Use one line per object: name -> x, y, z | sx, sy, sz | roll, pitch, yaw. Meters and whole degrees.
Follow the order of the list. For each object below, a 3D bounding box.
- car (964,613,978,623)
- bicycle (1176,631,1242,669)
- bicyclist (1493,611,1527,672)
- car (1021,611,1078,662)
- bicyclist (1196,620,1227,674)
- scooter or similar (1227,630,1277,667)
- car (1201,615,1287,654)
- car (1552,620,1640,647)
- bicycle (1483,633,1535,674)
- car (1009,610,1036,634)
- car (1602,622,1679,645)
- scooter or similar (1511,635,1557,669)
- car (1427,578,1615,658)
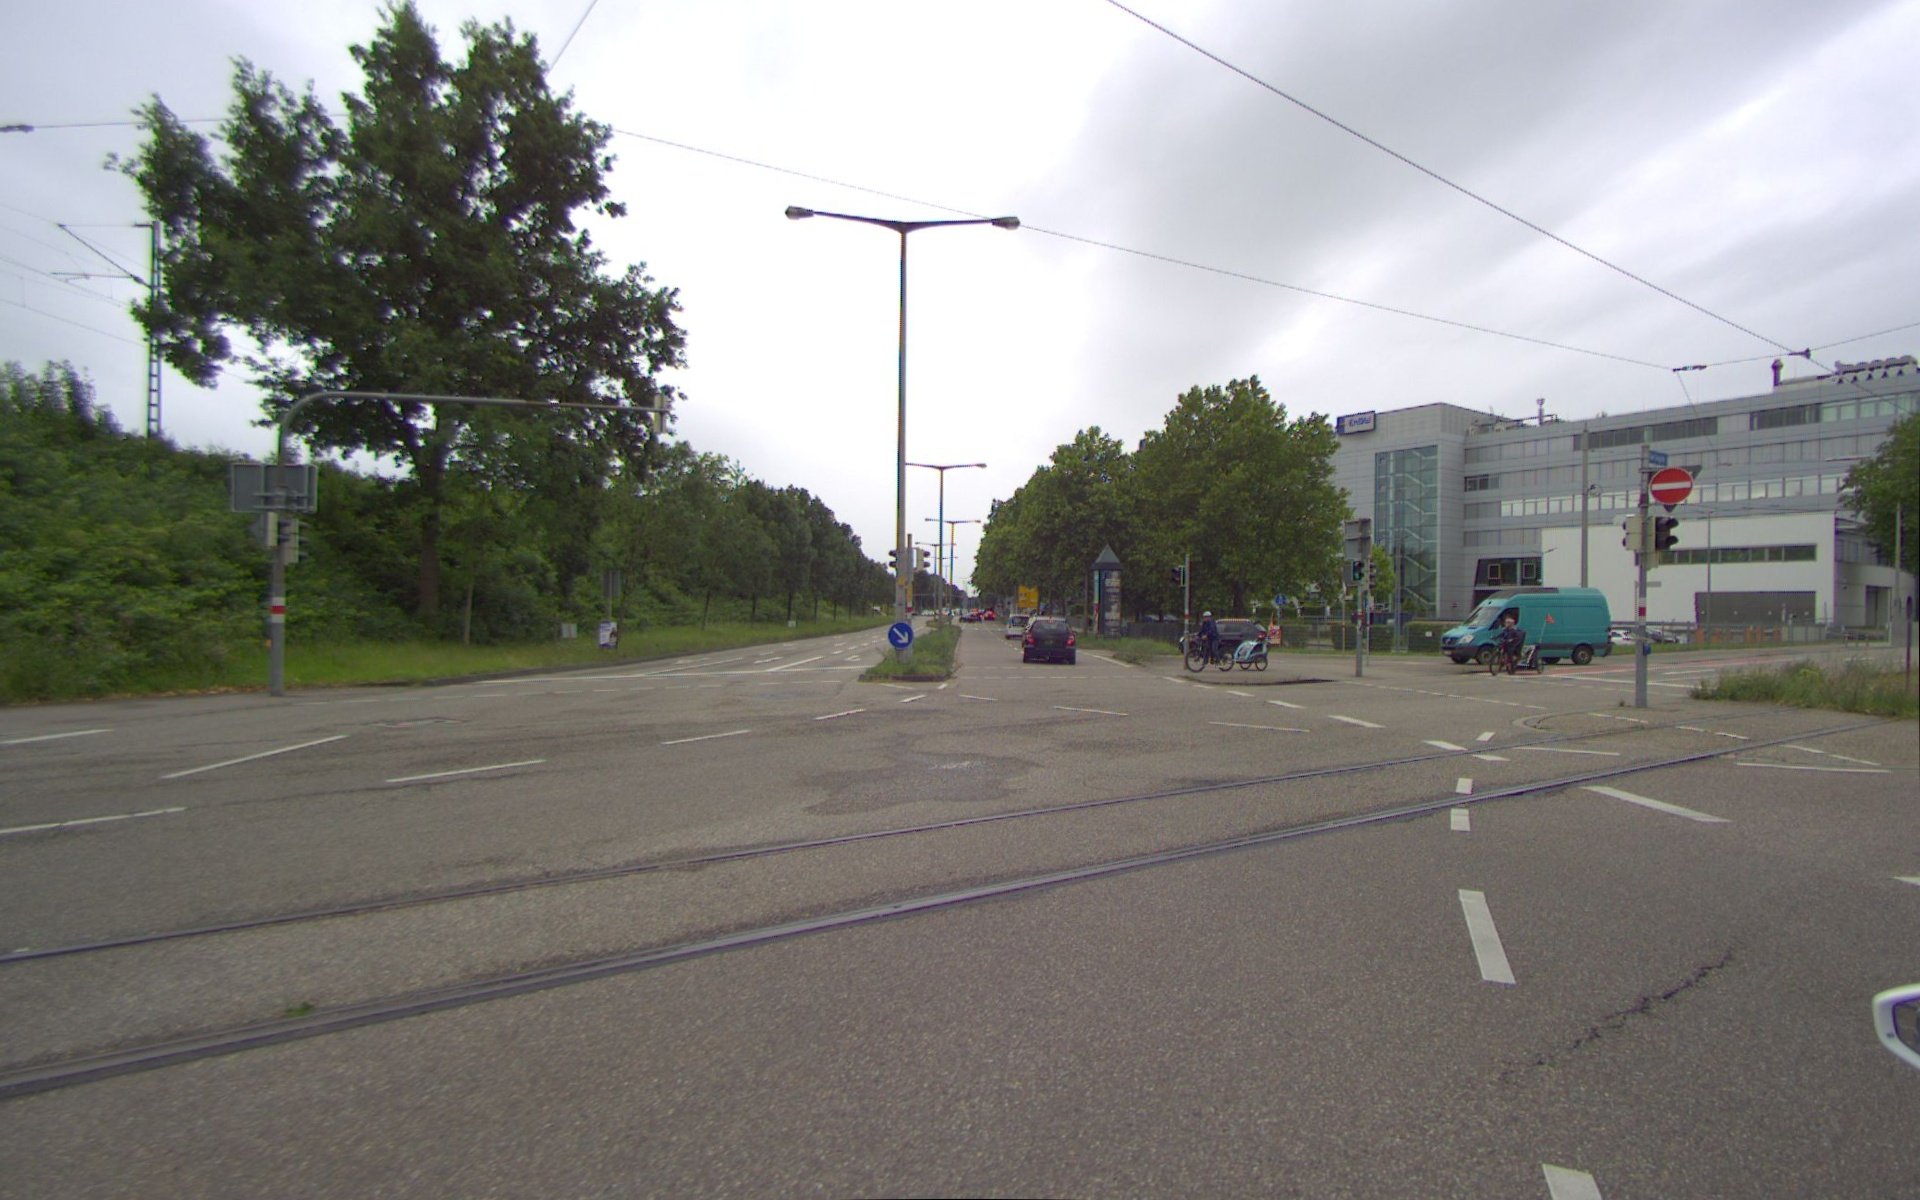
car -> 1.748, 2.845, 158.707 | 1.930, 1.548, 5.010 | 0, -1, -2
bicycle -> 7.430, 1.478, 29.955 | 1.976, 1.076, 0.642 | 0, 2, -29
bicyclist -> 15.868, 1.186, 28.979 | 0.680, 1.706, 0.640 | 0, 2, -41
car -> 2.997, 1.200, 34.249 | 1.739, 1.548, 3.670 | 1, 1, 2
bicyclist -> 7.505, 1.391, 29.996 | 0.618, 1.539, 0.642 | 0, 2, -28
scooter or similar -> 8.929, 1.470, 30.732 | 1.432, 1.076, 0.642 | 0, 2, -29
car -> 11.647, 1.382, 41.417 | 1.745, 1.548, 3.657 | 1, -1, -16
car -> 41.079, 2.162, 64.955 | 1.895, 1.655, 4.494 | 1, -1, -37
bicycle -> 15.860, 1.518, 28.993 | 2.008, 1.076, 0.639 | 0, 2, -41
car -> 4.525, 1.545, 73.148 | 1.929, 1.548, 5.011 | 1, 1, 3
car -> 46.356, 2.261, 68.458 | 1.895, 1.505, 3.958 | 1, -1, -37
scooter or similar -> 17.308, 1.550, 30.272 | 1.188, 0.919, 0.836 | 0, 2, -41
car -> 20.830, 0.674, 37.452 | 5.835, 2.863, 2.335 | 1, -1, -4
